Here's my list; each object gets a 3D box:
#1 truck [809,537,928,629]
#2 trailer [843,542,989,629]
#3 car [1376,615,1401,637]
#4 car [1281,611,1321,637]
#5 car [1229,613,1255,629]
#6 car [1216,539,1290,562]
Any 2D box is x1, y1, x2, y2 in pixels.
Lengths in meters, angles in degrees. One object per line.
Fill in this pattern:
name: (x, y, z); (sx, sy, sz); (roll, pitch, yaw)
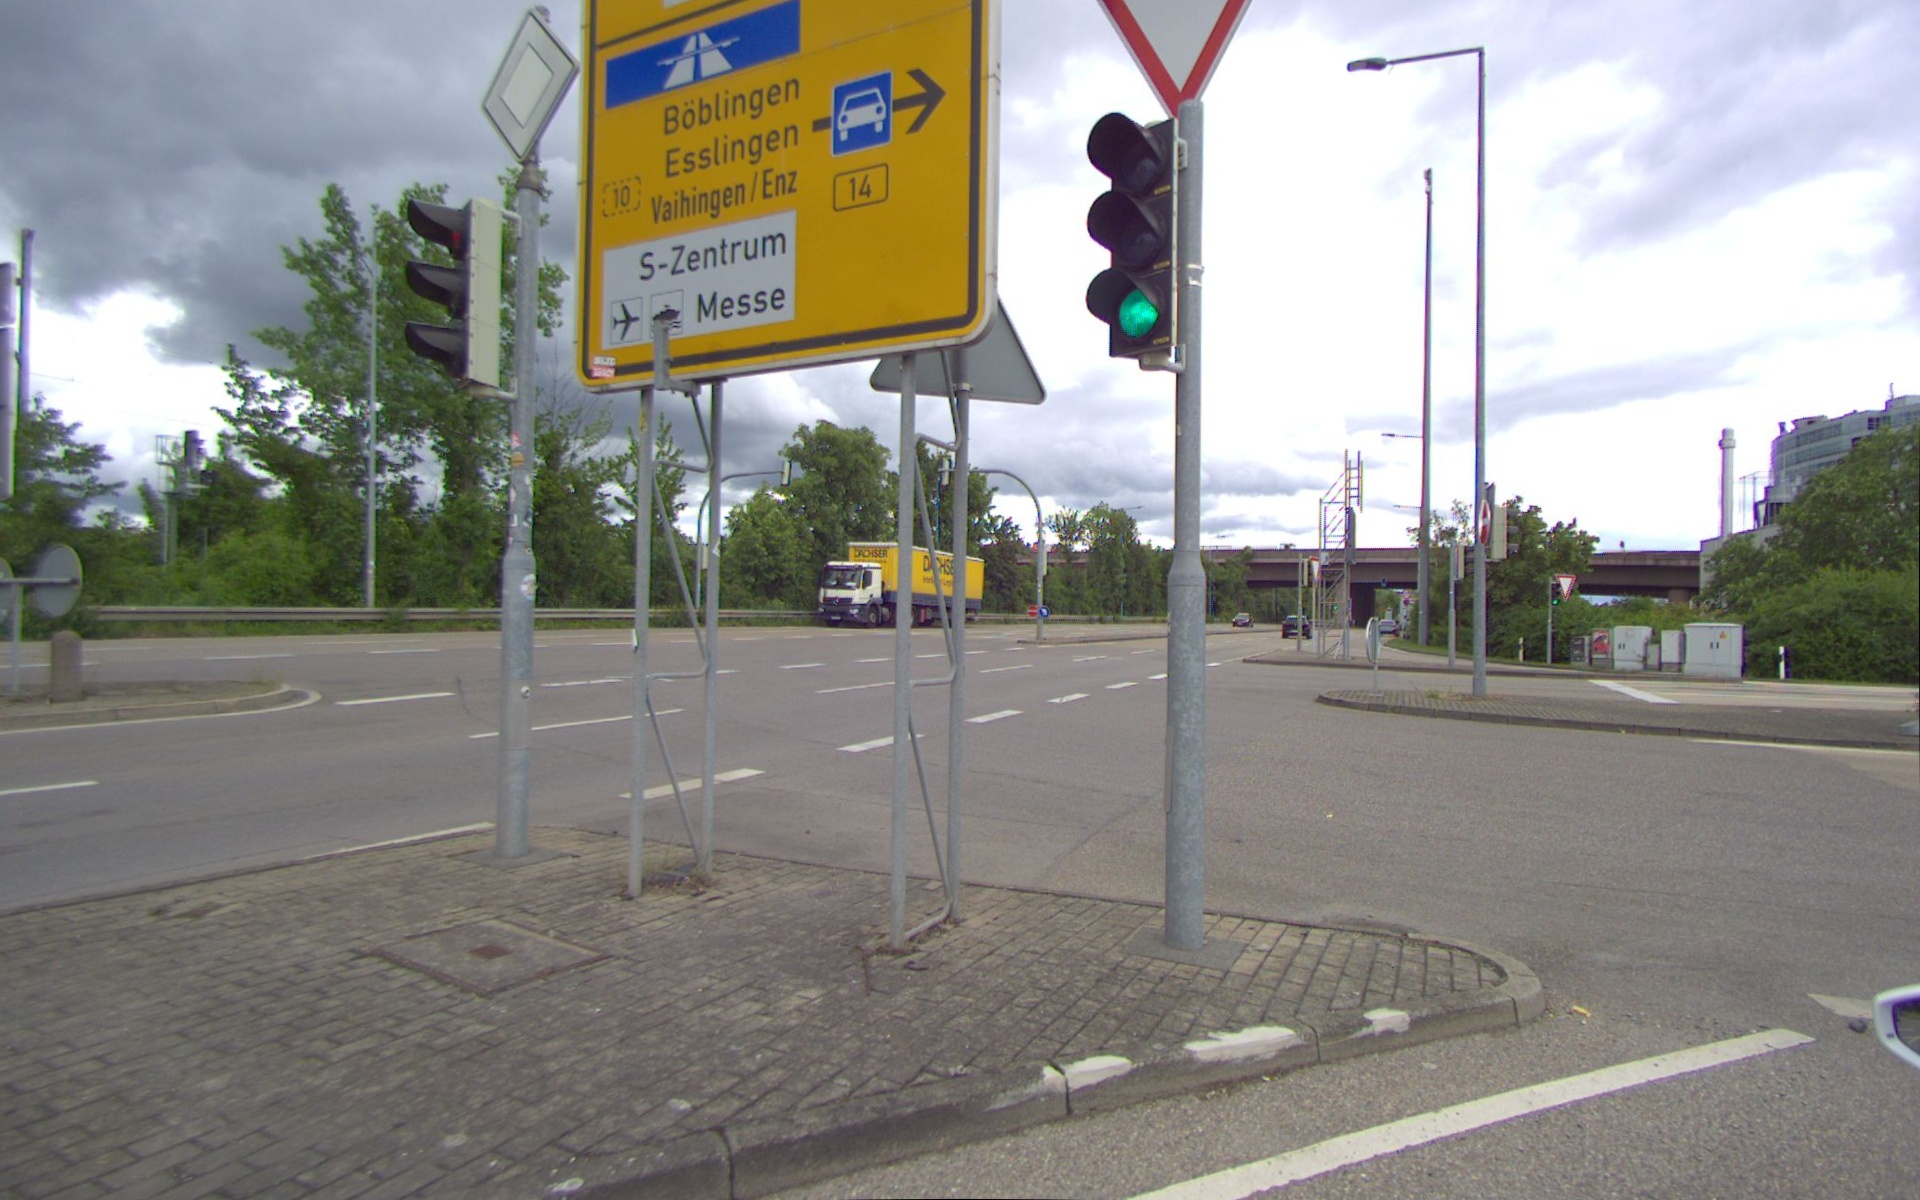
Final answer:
truck: (-4.376, -0.791, 49.474); (2.827, 4.139, 6.481); (4, 1, 25)
trailer: (-2.048, -0.717, 54.489); (2.826, 4.139, 11.416); (4, 1, 25)
car: (38.217, 2.270, 89.563); (1.879, 1.684, 4.743); (5, 2, 24)
car: (21.796, 1.529, 64.168); (1.879, 1.440, 3.990); (5, 1, 26)
car: (30.108, 2.187, 107.162); (1.834, 1.402, 3.862); (5, 3, 27)
car: (47.673, -8.119, 163.708); (11.005, 3.071, 3.470); (7, 4, 44)
